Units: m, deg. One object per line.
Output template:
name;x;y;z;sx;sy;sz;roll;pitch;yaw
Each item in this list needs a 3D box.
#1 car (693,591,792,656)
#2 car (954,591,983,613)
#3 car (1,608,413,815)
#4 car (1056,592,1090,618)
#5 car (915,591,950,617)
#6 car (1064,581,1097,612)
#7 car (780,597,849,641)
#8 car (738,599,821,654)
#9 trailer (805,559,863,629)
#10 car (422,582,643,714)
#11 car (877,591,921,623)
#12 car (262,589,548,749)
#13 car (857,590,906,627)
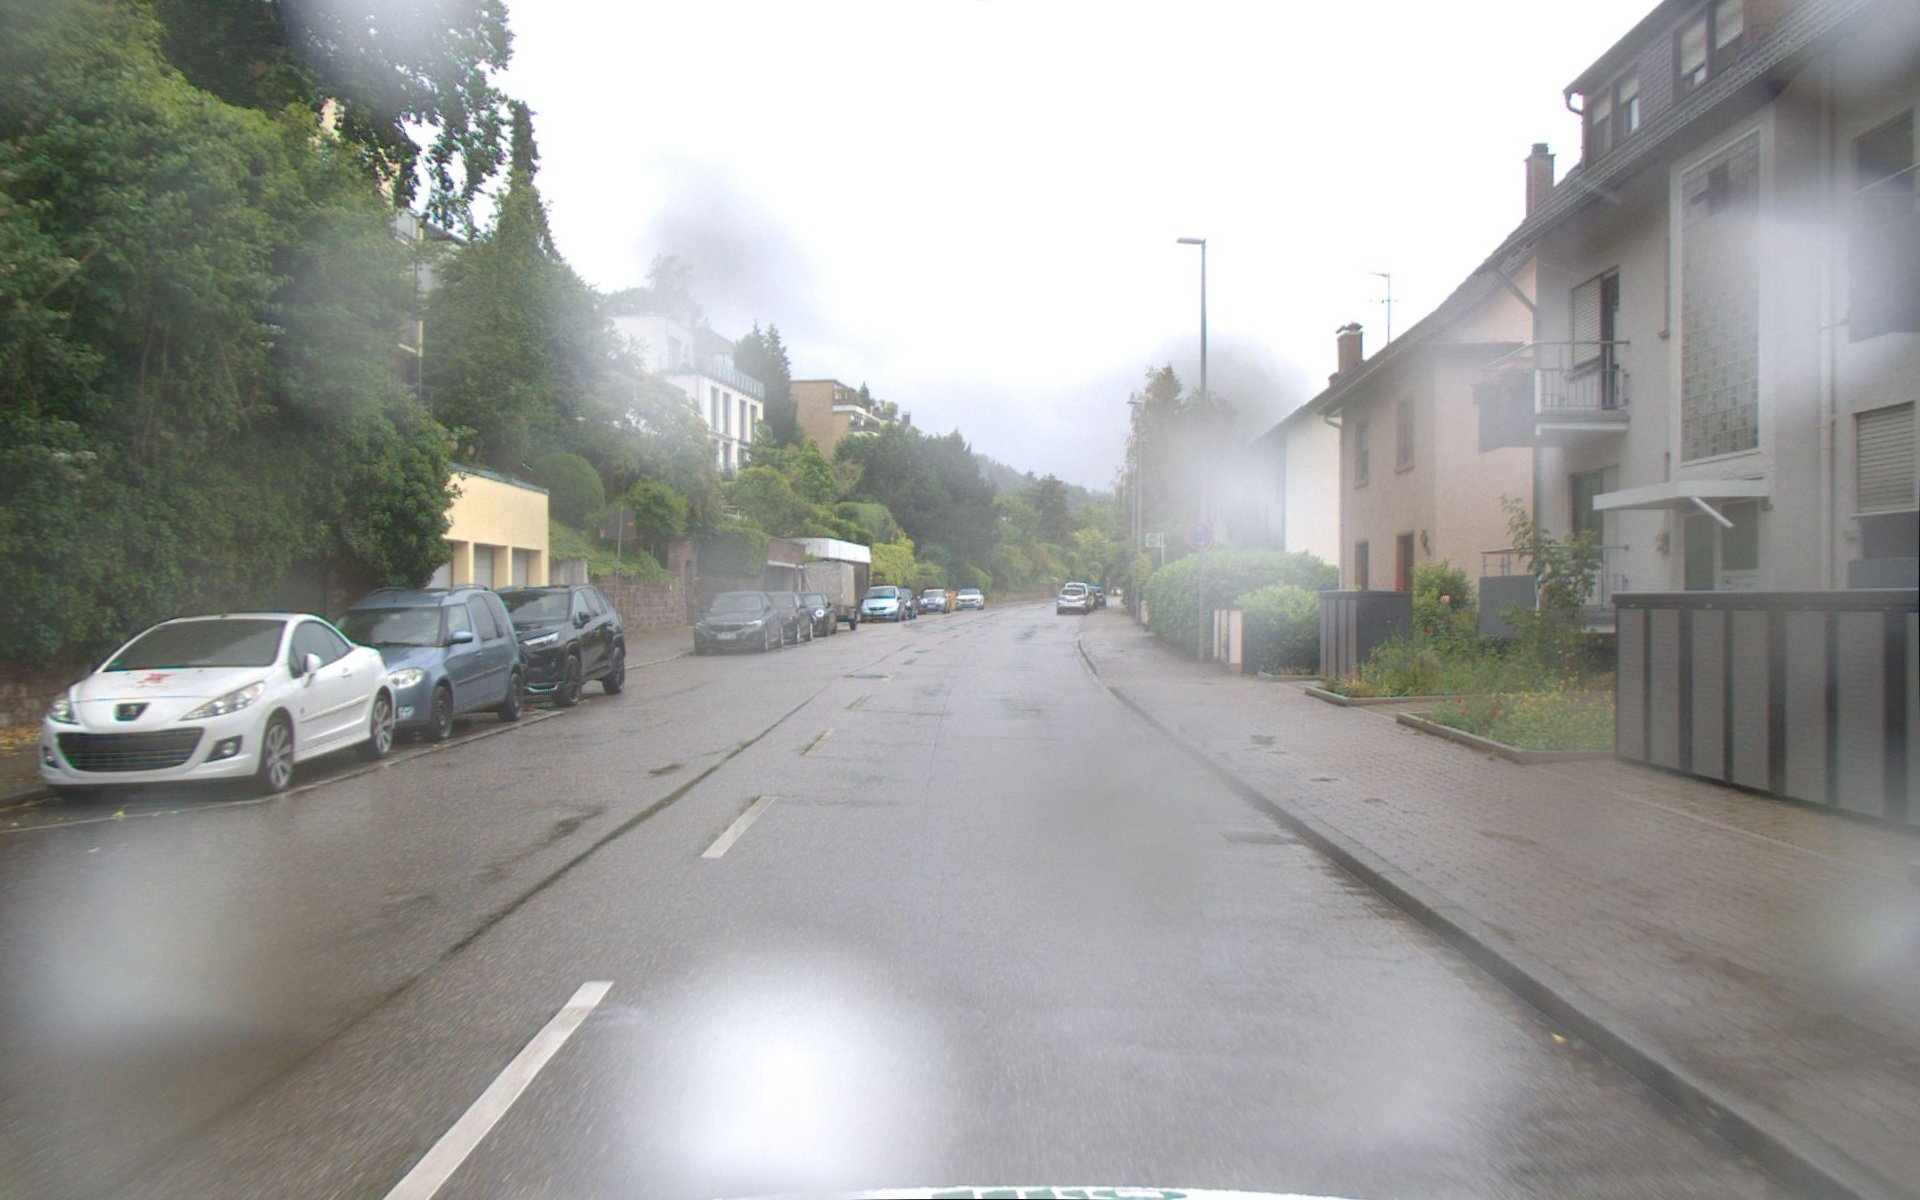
car;-5.462;0.553;42.061;1.749;1.480;4.756;-2;0;1
car;0.622;0.134;116.391;1.719;1.524;4.222;0;0;5
car;-6.137;0.815;14.046;1.681;1.389;4.082;-2;1;-2
car;6.658;0.293;97.104;1.751;1.485;4.311;1;0;7
car;-1.610;0.244;97.317;1.719;1.427;3.772;-2;0;4
car;7.490;-0.201;102.687;1.746;1.822;4.364;1;0;7
car;-4.733;0.602;54.353;1.770;1.373;3.777;-1;0;2
car;-5.152;0.733;47.743;1.748;1.440;4.219;-1;0;2
trailer;-4.558;-0.228;60.211;1.504;2.441;3.075;-1;0;6
car;-6.011;0.604;23.853;1.835;1.654;4.594;-2;0;1
car;-2.936;0.336;80.232;1.719;1.433;3.706;-2;0;4
car;-6.158;0.697;18.860;1.705;1.588;4.110;-1;0;2
car;-3.525;0.377;74.659;1.719;1.566;3.758;-2;0;4
